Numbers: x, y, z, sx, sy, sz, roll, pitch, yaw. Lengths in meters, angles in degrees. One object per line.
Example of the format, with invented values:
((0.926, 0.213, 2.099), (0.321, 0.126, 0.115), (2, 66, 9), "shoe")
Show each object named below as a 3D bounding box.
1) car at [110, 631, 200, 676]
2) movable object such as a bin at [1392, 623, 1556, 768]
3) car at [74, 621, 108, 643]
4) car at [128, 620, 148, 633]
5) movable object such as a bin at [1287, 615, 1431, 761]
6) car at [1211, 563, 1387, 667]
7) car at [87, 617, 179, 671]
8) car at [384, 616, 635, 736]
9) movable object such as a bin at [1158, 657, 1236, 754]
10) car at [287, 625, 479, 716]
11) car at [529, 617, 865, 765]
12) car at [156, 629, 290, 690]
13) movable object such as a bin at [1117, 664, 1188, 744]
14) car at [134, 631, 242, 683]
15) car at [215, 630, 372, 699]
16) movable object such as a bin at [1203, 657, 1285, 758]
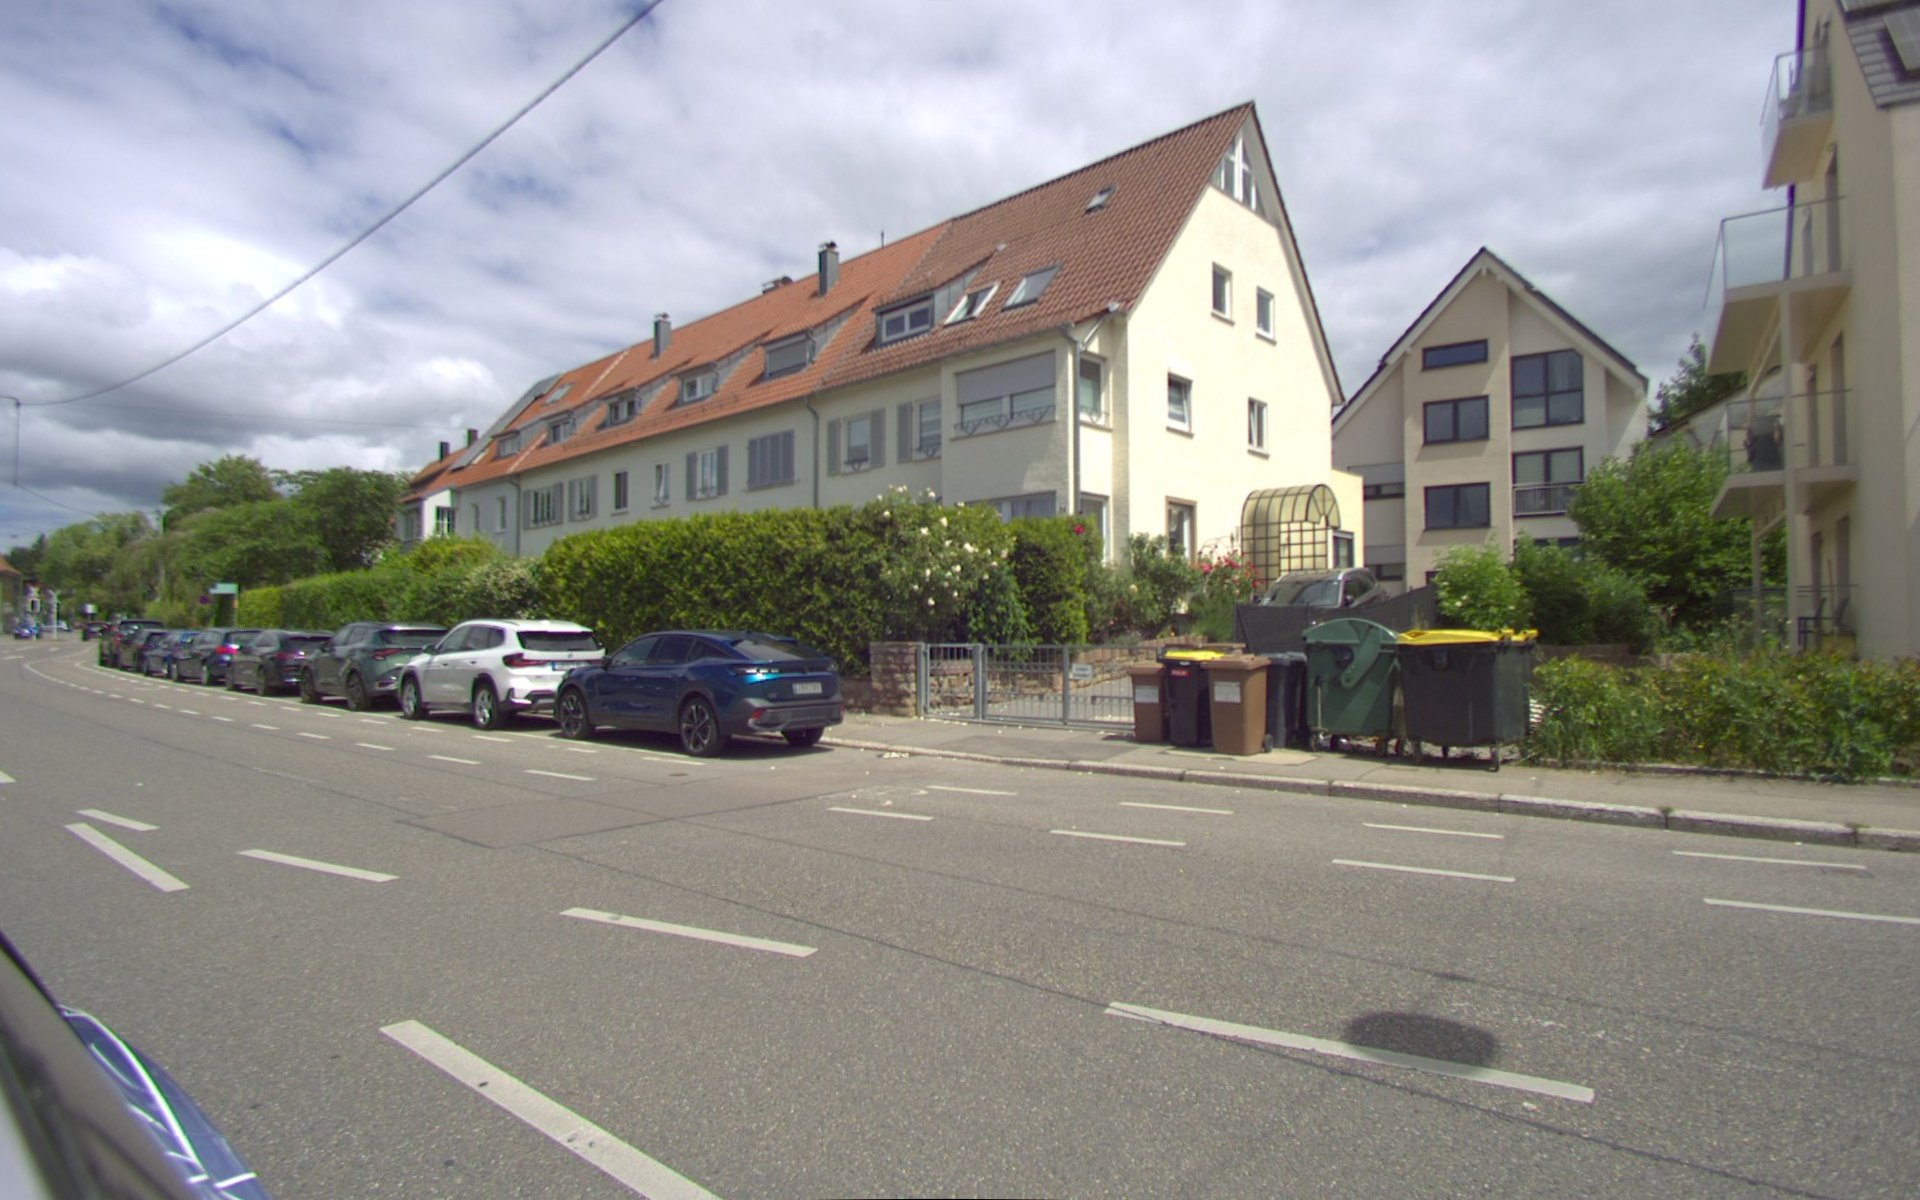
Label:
((-27.307, 1.759, 34.270), (4.339, 1.428, 1.758), (-1, -2, 43), "car")
((5.109, 0.898, 10.065), (1.214, 1.323, 1.054), (-2, -2, 42), "movable object such as a bin")
((-73.707, 2.714, 85.868), (1.892, 1.661, 4.301), (6, -5, -39), "car")
((-100.981, 3.230, 124.313), (1.824, 1.587, 4.166), (0, -1, -39), "car")
((4.392, 0.923, 11.147), (1.213, 1.493, 1.055), (-1, -2, 39), "movable object such as a bin")
((6.406, 0.263, 18.896), (1.802, 1.719, 3.947), (-1, -1, 40), "car")
((-31.225, 1.641, 38.154), (5.404, 1.909, 1.971), (-1, -4, 44), "car")
((-7.367, 1.120, 16.346), (4.515, 1.663, 1.973), (-1, -2, 41), "car")
((2.692, 1.180, 11.500), (0.658, 1.032, 0.589), (-2, -2, 41), "movable object such as a bin")
((-11.441, 1.290, 19.917), (4.689, 1.576, 1.972), (-1, -2, 43), "car")
((-3.518, 1.043, 13.135), (4.484, 1.599, 1.974), (-1, -2, 39), "car")
((-19.757, 1.524, 27.063), (4.560, 1.503, 1.760), (-1, -2, 39), "car")
((2.293, 1.220, 12.041), (0.614, 0.886, 0.589), (-2, -2, 41), "movable object such as a bin")
((-23.344, 1.662, 30.539), (4.438, 1.428, 1.759), (-1, -2, 42), "car")
((-15.573, 1.424, 23.546), (4.689, 1.419, 1.972), (-1, -2, 43), "car")
((3.062, 1.139, 10.902), (0.658, 1.015, 0.589), (-2, -2, 41), "movable object such as a bin")
